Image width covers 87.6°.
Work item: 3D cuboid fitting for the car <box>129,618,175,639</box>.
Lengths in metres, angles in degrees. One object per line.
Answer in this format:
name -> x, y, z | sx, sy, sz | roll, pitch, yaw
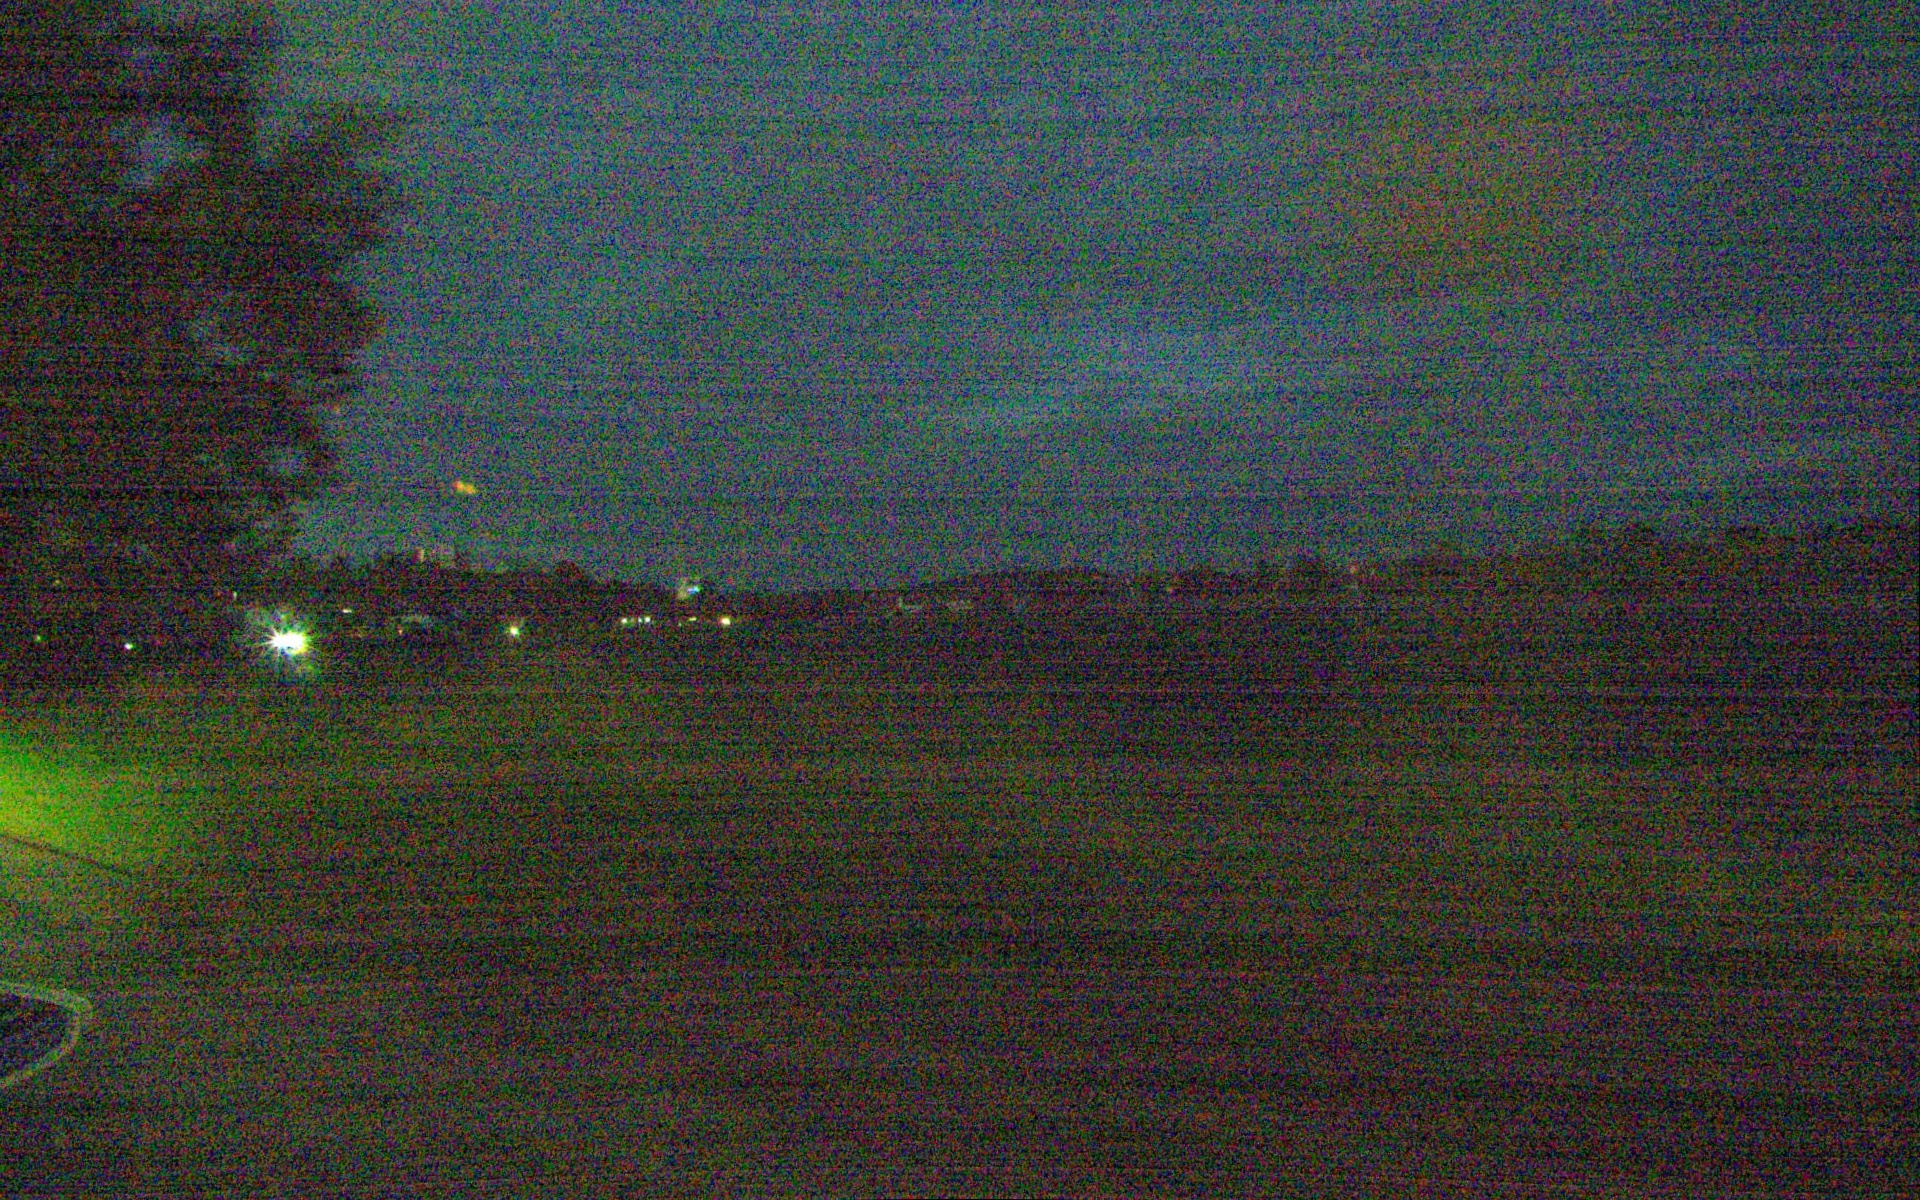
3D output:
car -> -83.089, 2.893, 103.028 | 1.962, 2.041, 3.997 | 1, 1, -8
